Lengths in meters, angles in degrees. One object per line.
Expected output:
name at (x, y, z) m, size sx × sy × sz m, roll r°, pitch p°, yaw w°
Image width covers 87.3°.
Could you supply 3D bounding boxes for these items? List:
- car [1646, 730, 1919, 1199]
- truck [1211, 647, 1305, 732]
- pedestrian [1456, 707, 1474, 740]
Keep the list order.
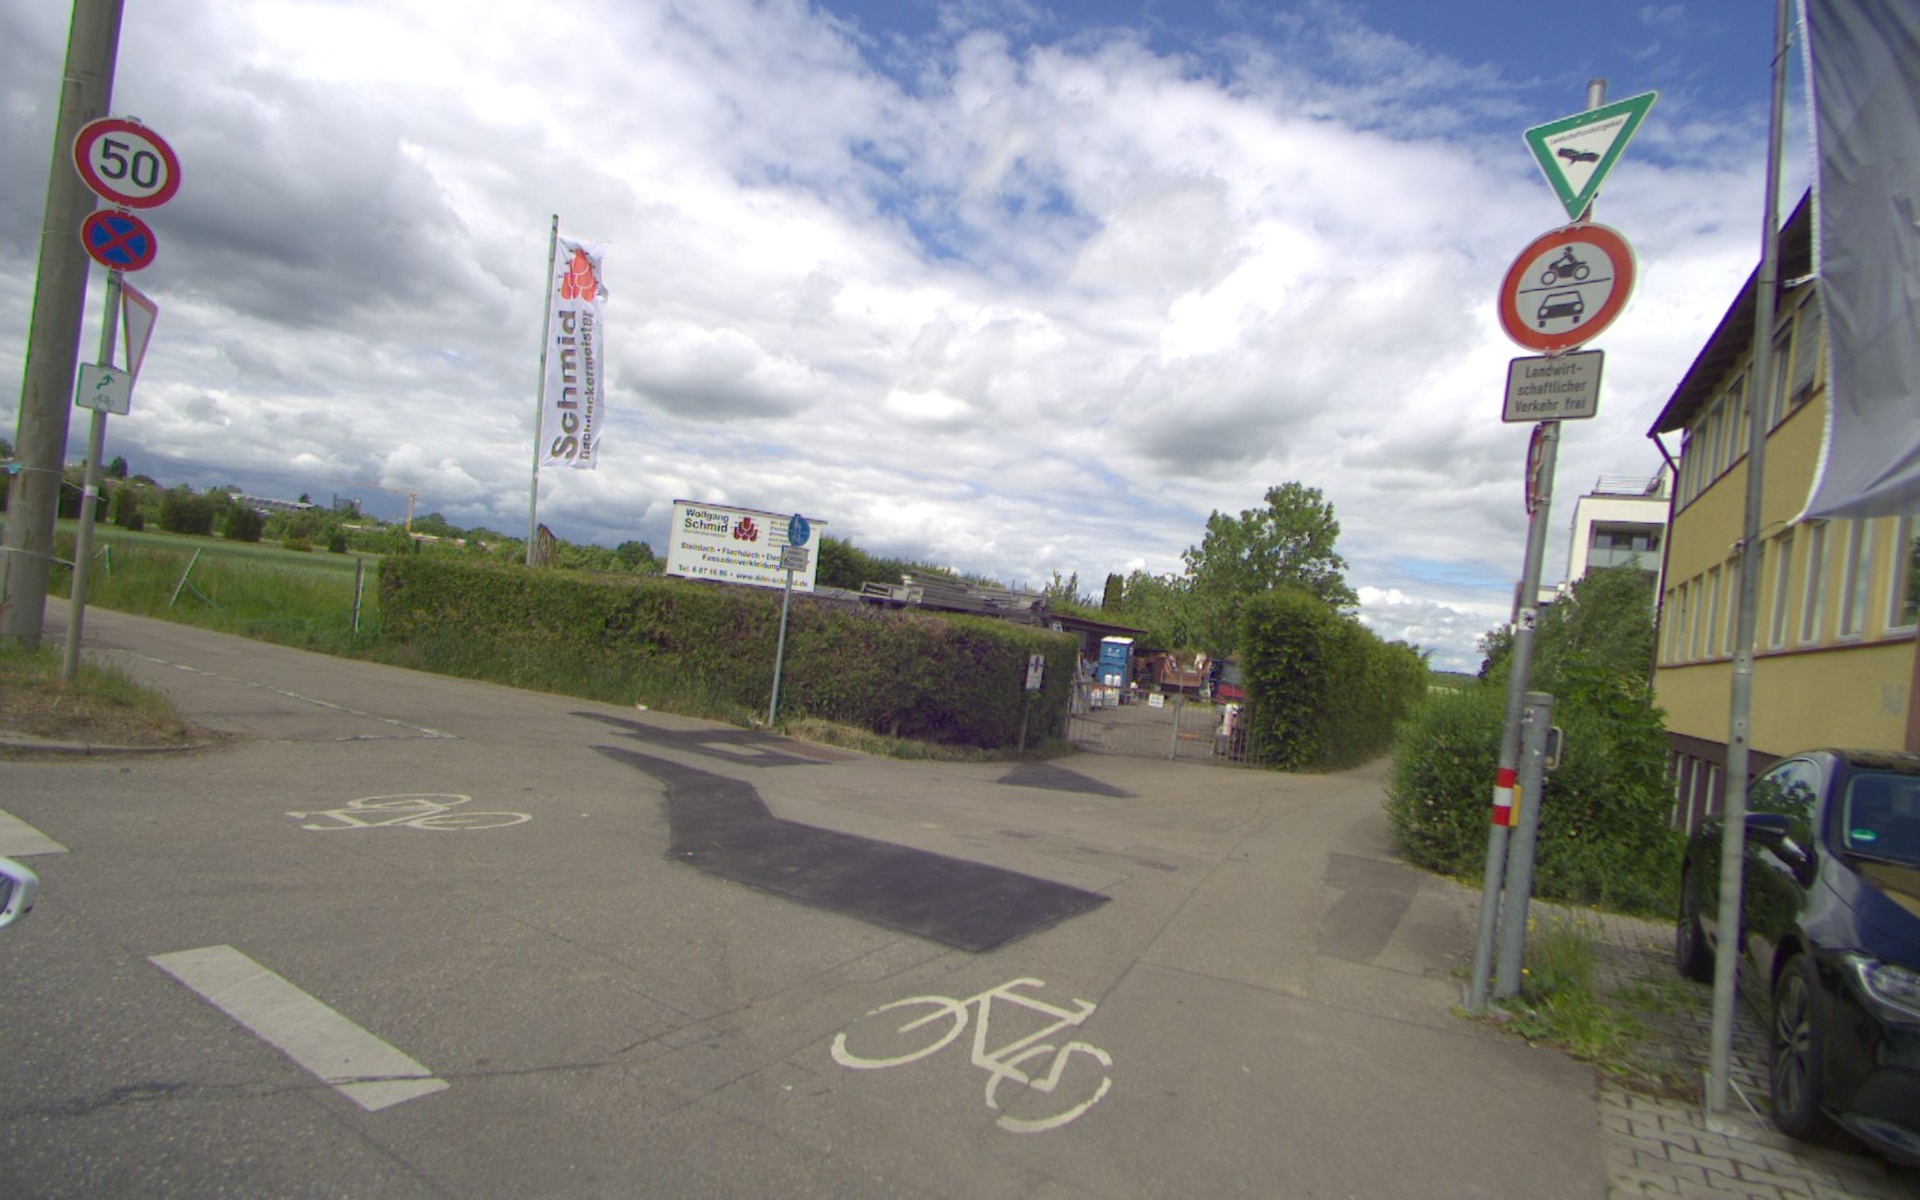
car at (4.408, 1.394, 4.251) m, size 1.970 × 1.413 × 4.334 m, roll 5°, pitch -4°, yaw 29°
truck at (11.275, 3.327, 37.683) m, size 2.130 × 2.674 × 5.933 m, roll 6°, pitch -2°, yaw 27°
pedestrian at (26.082, 6.388, 51.975) m, size 0.667 × 1.598 × 0.516 m, roll 6°, pitch -2°, yaw 24°
